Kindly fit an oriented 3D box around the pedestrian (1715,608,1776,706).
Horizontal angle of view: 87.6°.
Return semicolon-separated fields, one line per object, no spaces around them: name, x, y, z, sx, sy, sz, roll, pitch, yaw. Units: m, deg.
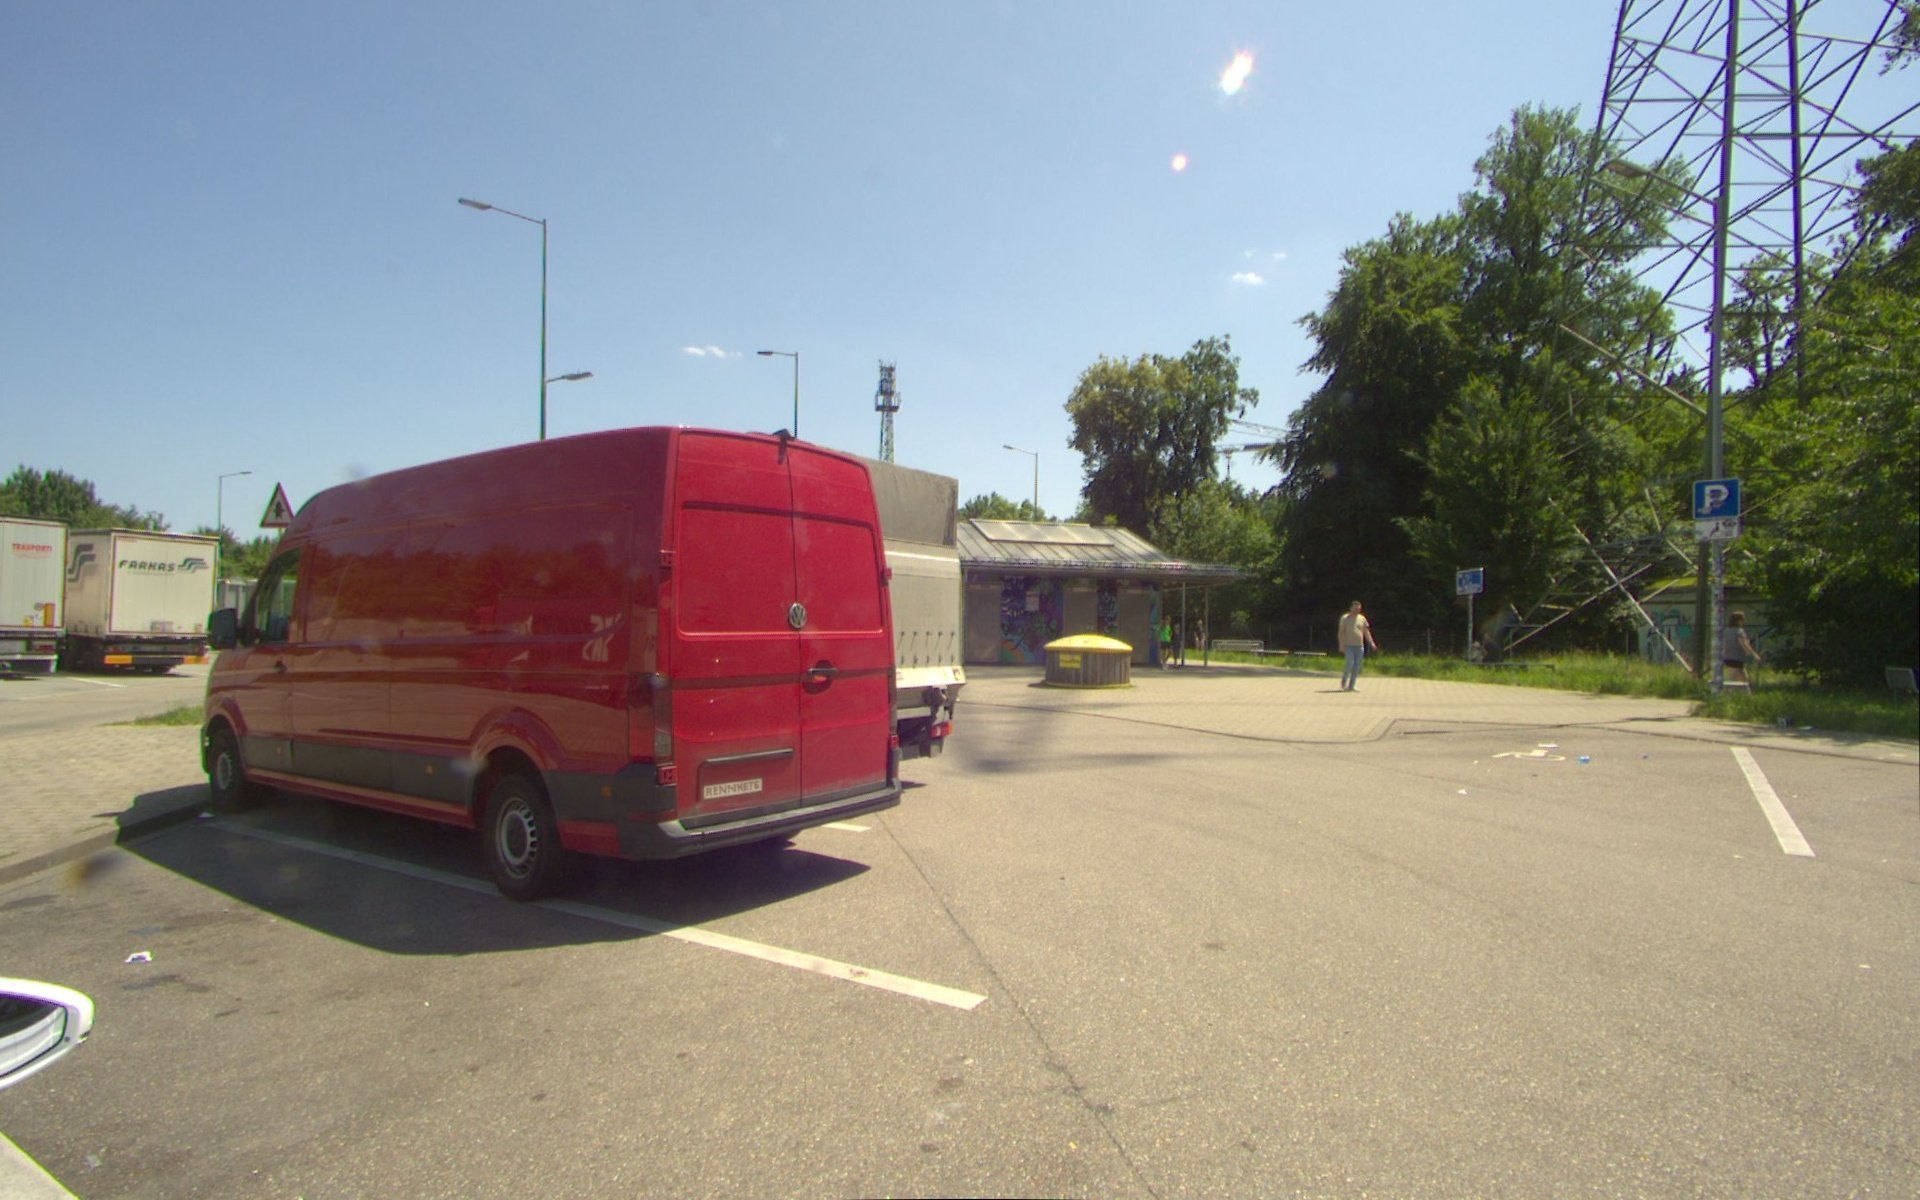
pedestrian;13.788;0.991;17.597;0.704;1.670;0.685;-1;-1;27

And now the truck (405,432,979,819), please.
truck;-3.076;0.273;10.514;6.372;2.944;2.411;-1;-2;37

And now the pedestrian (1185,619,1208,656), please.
pedestrian;10.627;1.681;44.976;0.801;1.639;0.917;-1;-1;27

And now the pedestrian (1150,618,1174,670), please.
pedestrian;5.522;1.200;27.387;0.532;1.392;0.583;0;-1;0

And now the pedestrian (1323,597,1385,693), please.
pedestrian;8.151;0.923;20.729;0.799;1.929;0.920;0;-1;-15

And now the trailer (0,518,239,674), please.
trailer;-27.604;-0.164;31.603;13.561;4.162;2.854;1;-2;32

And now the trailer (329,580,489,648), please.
trailer;-36.158;0.851;65.332;13.561;3.955;2.854;1;-2;32

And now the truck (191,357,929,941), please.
truck;-3.327;0.302;7.330;6.372;2.685;2.005;-1;-2;37

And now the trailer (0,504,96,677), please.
trailer;-28.677;-0.336;28.015;13.561;4.162;2.854;1;-2;32

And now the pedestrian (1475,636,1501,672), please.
pedestrian;14.654;1.487;27.810;0.439;0.987;0.460;0;-1;-19

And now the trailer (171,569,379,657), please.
trailer;-32.466;0.490;47.092;13.561;3.646;2.854;1;-2;32

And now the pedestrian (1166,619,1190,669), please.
pedestrian;6.074;1.225;27.870;0.532;1.392;0.583;0;-1;0

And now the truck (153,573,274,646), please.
truck;-37.537;0.481;50.316;5.887;3.406;2.862;1;-2;32
